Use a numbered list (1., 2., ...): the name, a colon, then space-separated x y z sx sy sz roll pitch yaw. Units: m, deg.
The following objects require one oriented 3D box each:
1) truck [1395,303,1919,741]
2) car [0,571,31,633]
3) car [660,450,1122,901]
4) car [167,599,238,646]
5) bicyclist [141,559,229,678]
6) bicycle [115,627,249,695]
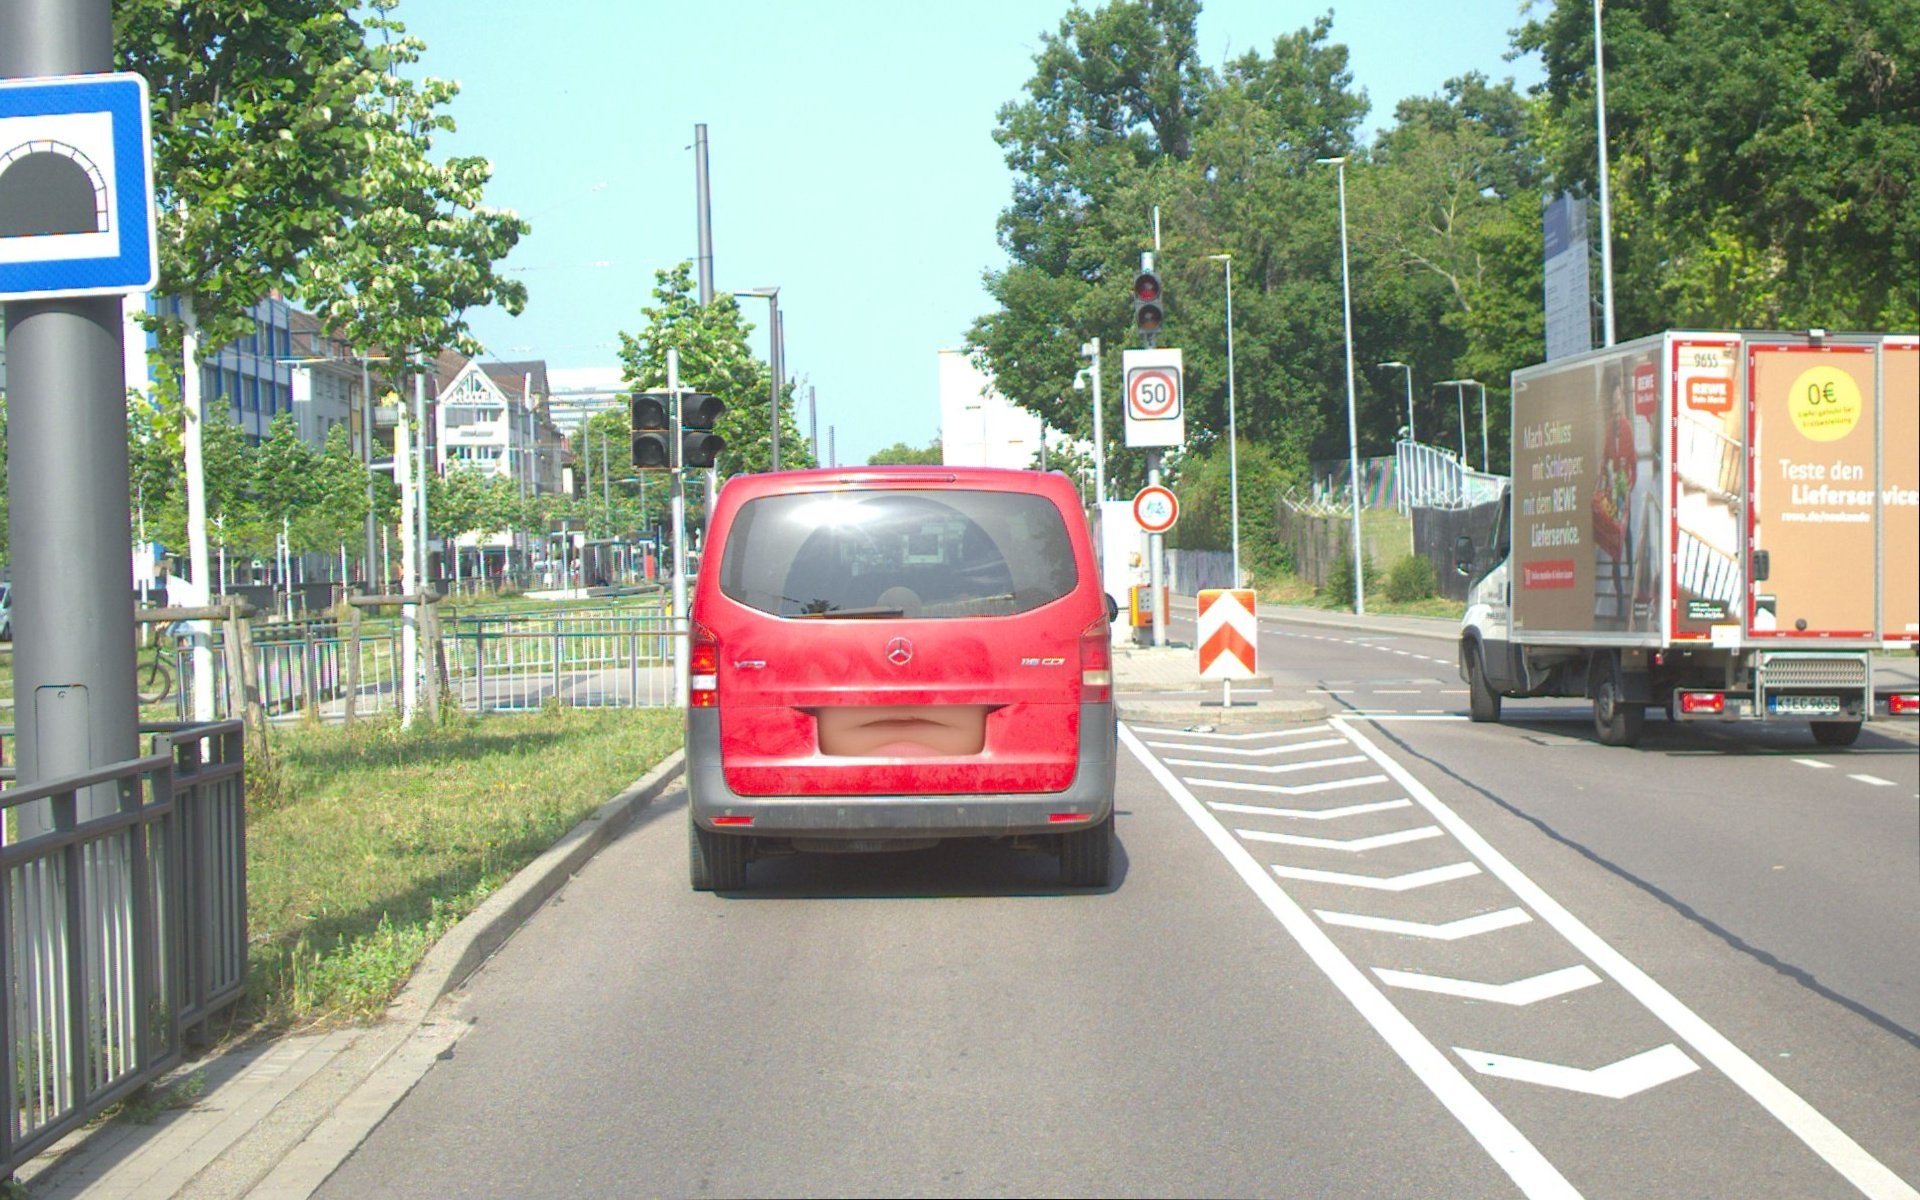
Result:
1. truck: 5.689 -0.555 27.954 2.501 3.050 7.821 0 0 -6
2. car: -33.015 0.084 115.704 2.249 2.007 5.263 0 -1 -2
3. car: -0.251 0.287 16.152 1.901 1.853 4.000 0 1 1
4. car: -29.873 0.870 135.688 1.917 1.807 4.000 0 0 0
5. bicyclist: -9.462 0.215 41.976 0.686 1.435 0.804 0 0 28
6. bicycle: -9.484 0.738 41.954 0.719 0.795 1.601 0 0 28
